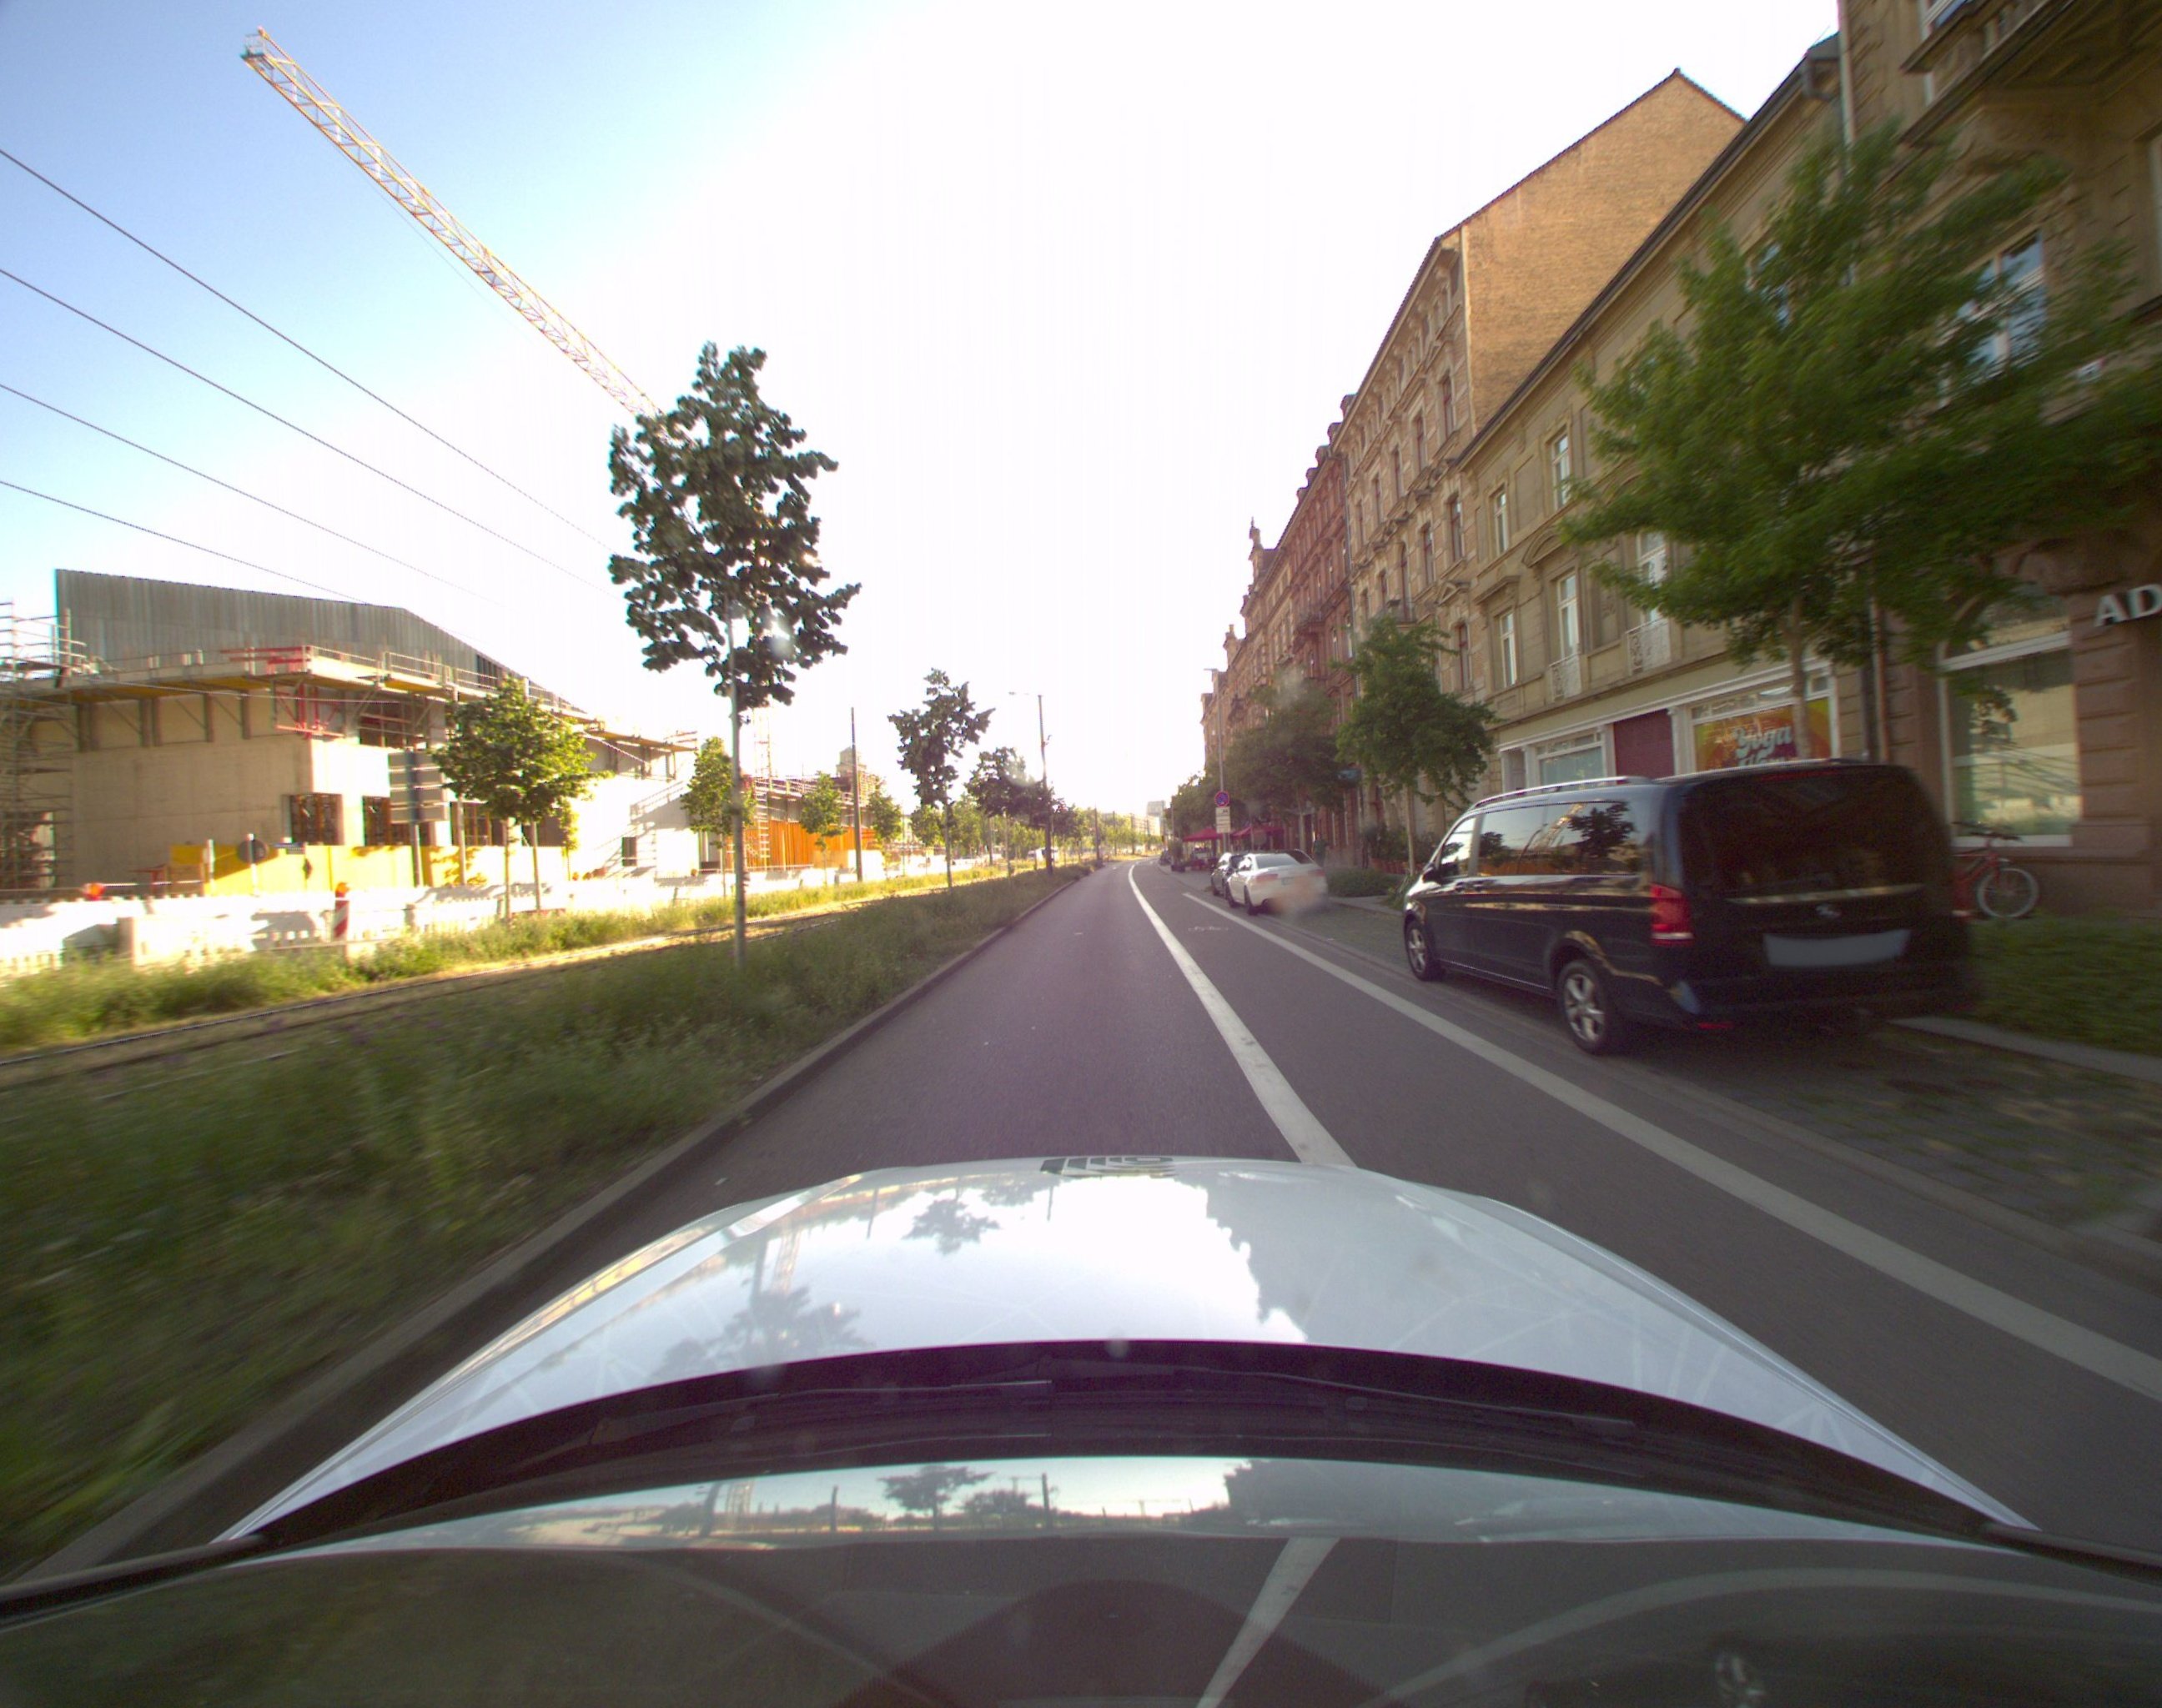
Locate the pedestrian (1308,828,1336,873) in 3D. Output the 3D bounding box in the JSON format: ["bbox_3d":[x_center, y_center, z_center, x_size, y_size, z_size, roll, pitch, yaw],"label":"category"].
[{"bbox_3d":[9.799,-0.151,33.148,0.744,1.754,1.073,-4,0,3],"label":"pedestrian"}]

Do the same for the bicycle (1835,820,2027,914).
[{"bbox_3d":[10.731,0.148,10.400,0.323,1.064,2.074,-2,0,2],"label":"bicycle"}]

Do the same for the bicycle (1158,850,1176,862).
[{"bbox_3d":[8.937,0.236,84.989,1.744,1.104,0.508,-5,0,8],"label":"bicycle"}]

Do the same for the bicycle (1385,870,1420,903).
[{"bbox_3d":[6.804,0.679,17.267,0.353,0.647,1.003,-2,0,2],"label":"bicycle"}]

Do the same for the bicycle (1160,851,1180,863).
[{"bbox_3d":[8.568,0.292,78.513,1.795,1.047,0.567,-5,0,8],"label":"bicycle"}]

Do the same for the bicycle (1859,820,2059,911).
[{"bbox_3d":[11.077,0.135,10.391,0.341,1.033,2.074,-2,0,2],"label":"bicycle"}]

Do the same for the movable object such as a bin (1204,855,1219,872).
[{"bbox_3d":[7.582,0.546,47.368,0.669,0.924,0.563,-6,-2,23],"label":"movable object such as a bin"}]

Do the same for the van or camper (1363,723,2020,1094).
[{"bbox_3d":[4.424,0.301,7.398,1.953,1.971,5.492,-5,0,3],"label":"van or camper"}]

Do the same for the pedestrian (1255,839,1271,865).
[{"bbox_3d":[10.939,-0.119,48.961,0.725,1.533,0.797,-5,0,2],"label":"pedestrian"}]

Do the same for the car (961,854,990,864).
[{"bbox_3d":[-20.804,0.915,160.095,5.196,1.717,2.130,-3,0,8],"label":"car"}]

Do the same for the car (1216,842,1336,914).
[{"bbox_3d":[4.779,0.516,20.792,1.842,1.454,5.254,-5,0,1],"label":"car"}]

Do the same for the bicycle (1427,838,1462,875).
[{"bbox_3d":[11.285,0.075,25.338,0.383,1.080,1.677,-2,0,3],"label":"bicycle"}]

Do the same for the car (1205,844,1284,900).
[{"bbox_3d":[5.341,0.529,27.116,1.841,1.564,4.300,-5,0,3],"label":"car"}]

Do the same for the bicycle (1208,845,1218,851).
[{"bbox_3d":[26.402,-1.147,163.298,1.891,1.093,0.393,-4,0,4],"label":"bicycle"}]

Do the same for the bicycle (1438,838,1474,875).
[{"bbox_3d":[11.673,0.069,25.380,0.383,1.080,1.677,-2,0,3],"label":"bicycle"}]

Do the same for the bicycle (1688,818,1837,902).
[{"bbox_3d":[10.971,0.086,13.218,0.702,1.220,2.074,-2,0,2],"label":"bicycle"}]

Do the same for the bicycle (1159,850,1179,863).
[{"bbox_3d":[8.608,0.267,79.958,1.834,1.104,0.567,-5,0,8],"label":"bicycle"}]

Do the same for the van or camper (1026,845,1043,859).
[{"bbox_3d":[-9.041,-0.433,158.886,2.213,2.509,7.206,-5,1,3],"label":"van or camper"}]

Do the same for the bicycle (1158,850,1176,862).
[{"bbox_3d":[8.878,0.232,84.400,1.744,1.104,0.508,-5,0,8],"label":"bicycle"}]
